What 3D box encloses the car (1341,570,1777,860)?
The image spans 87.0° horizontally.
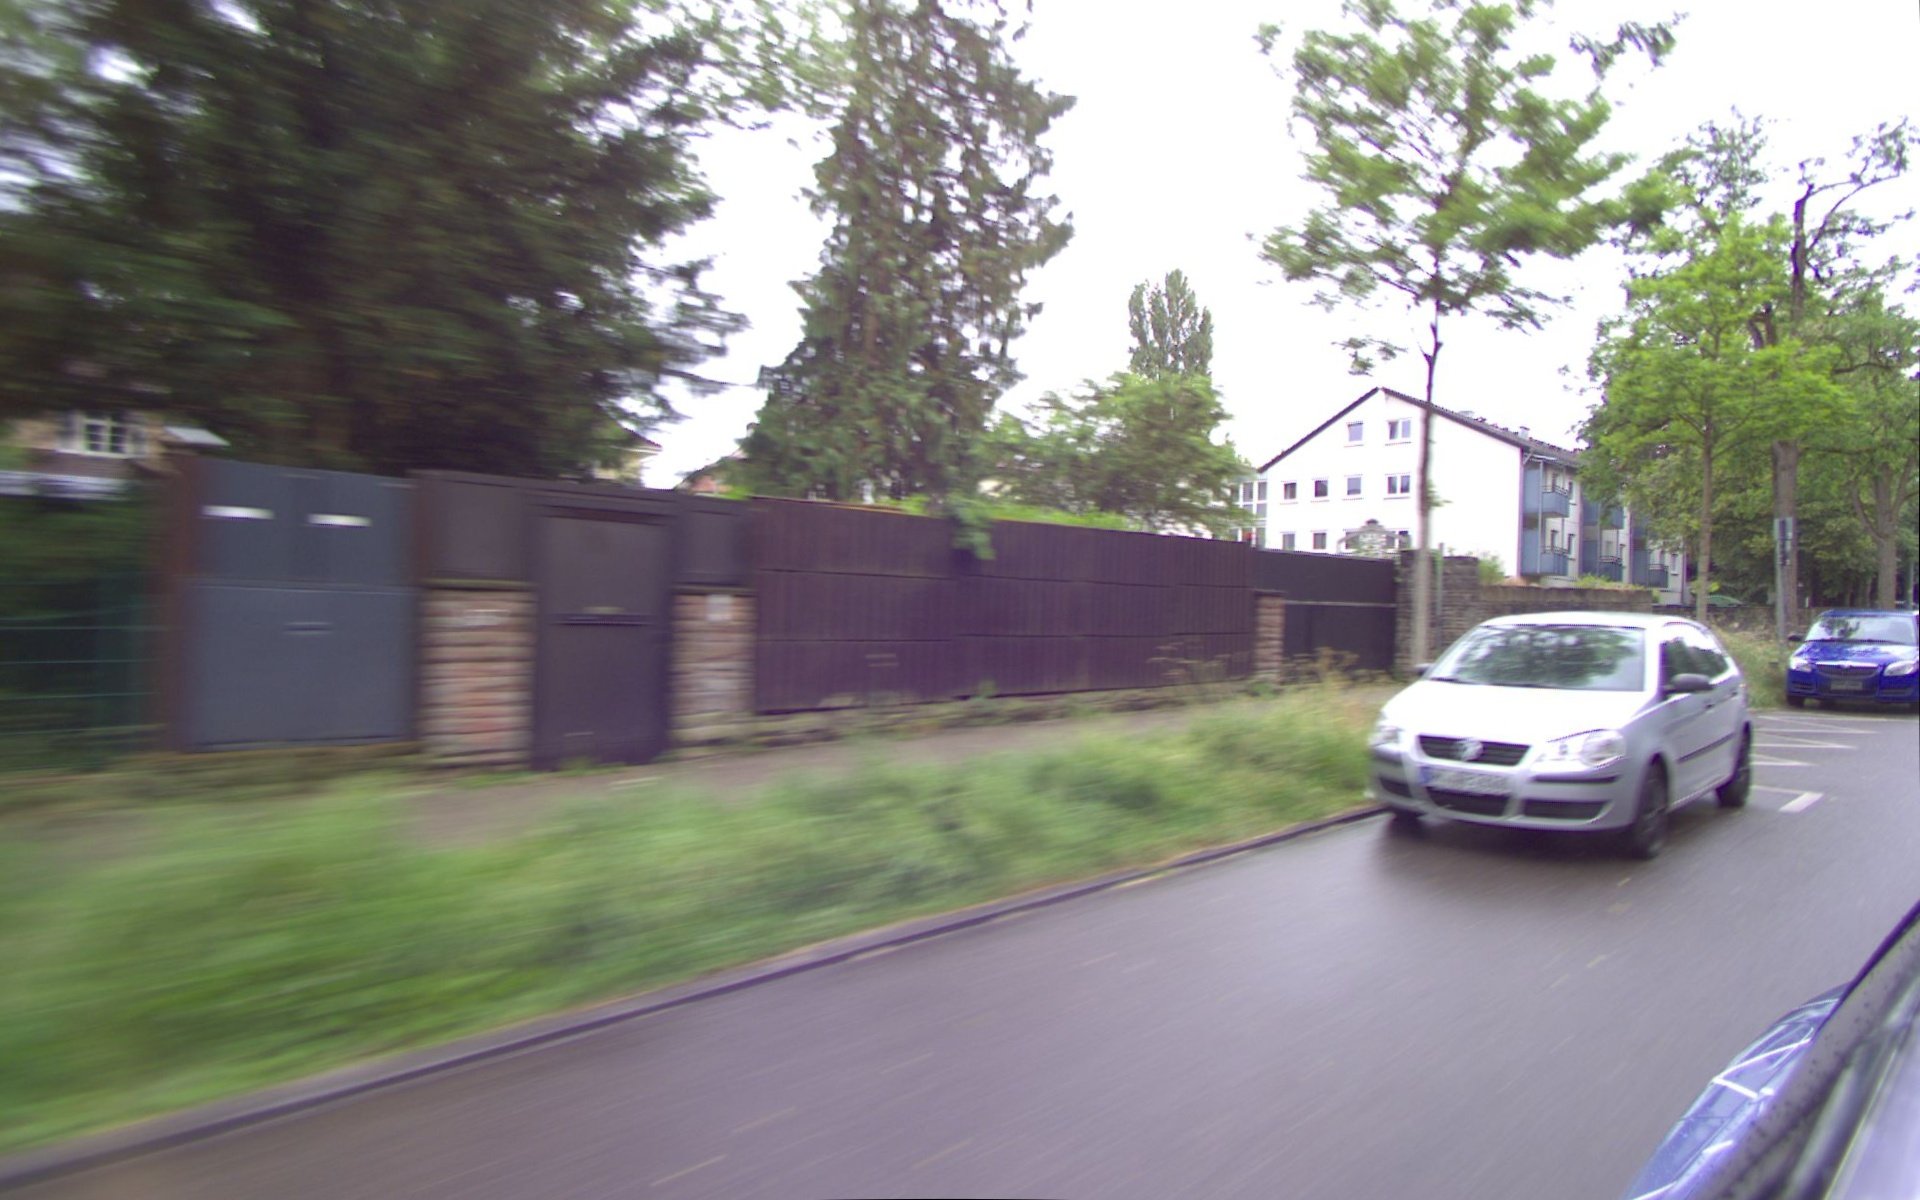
[{"bbox_3d":[4.405,0.643,7.211,3.768,1.527,1.620,1,-2,-42],"label":"car"}]

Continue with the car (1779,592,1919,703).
[{"bbox_3d":[14.376,0.698,15.808,3.977,1.525,1.724,1,-2,-40],"label":"car"}]

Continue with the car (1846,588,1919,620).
[{"bbox_3d":[54.901,0.250,59.199,1.964,1.702,4.321,0,3,-39],"label":"car"}]
